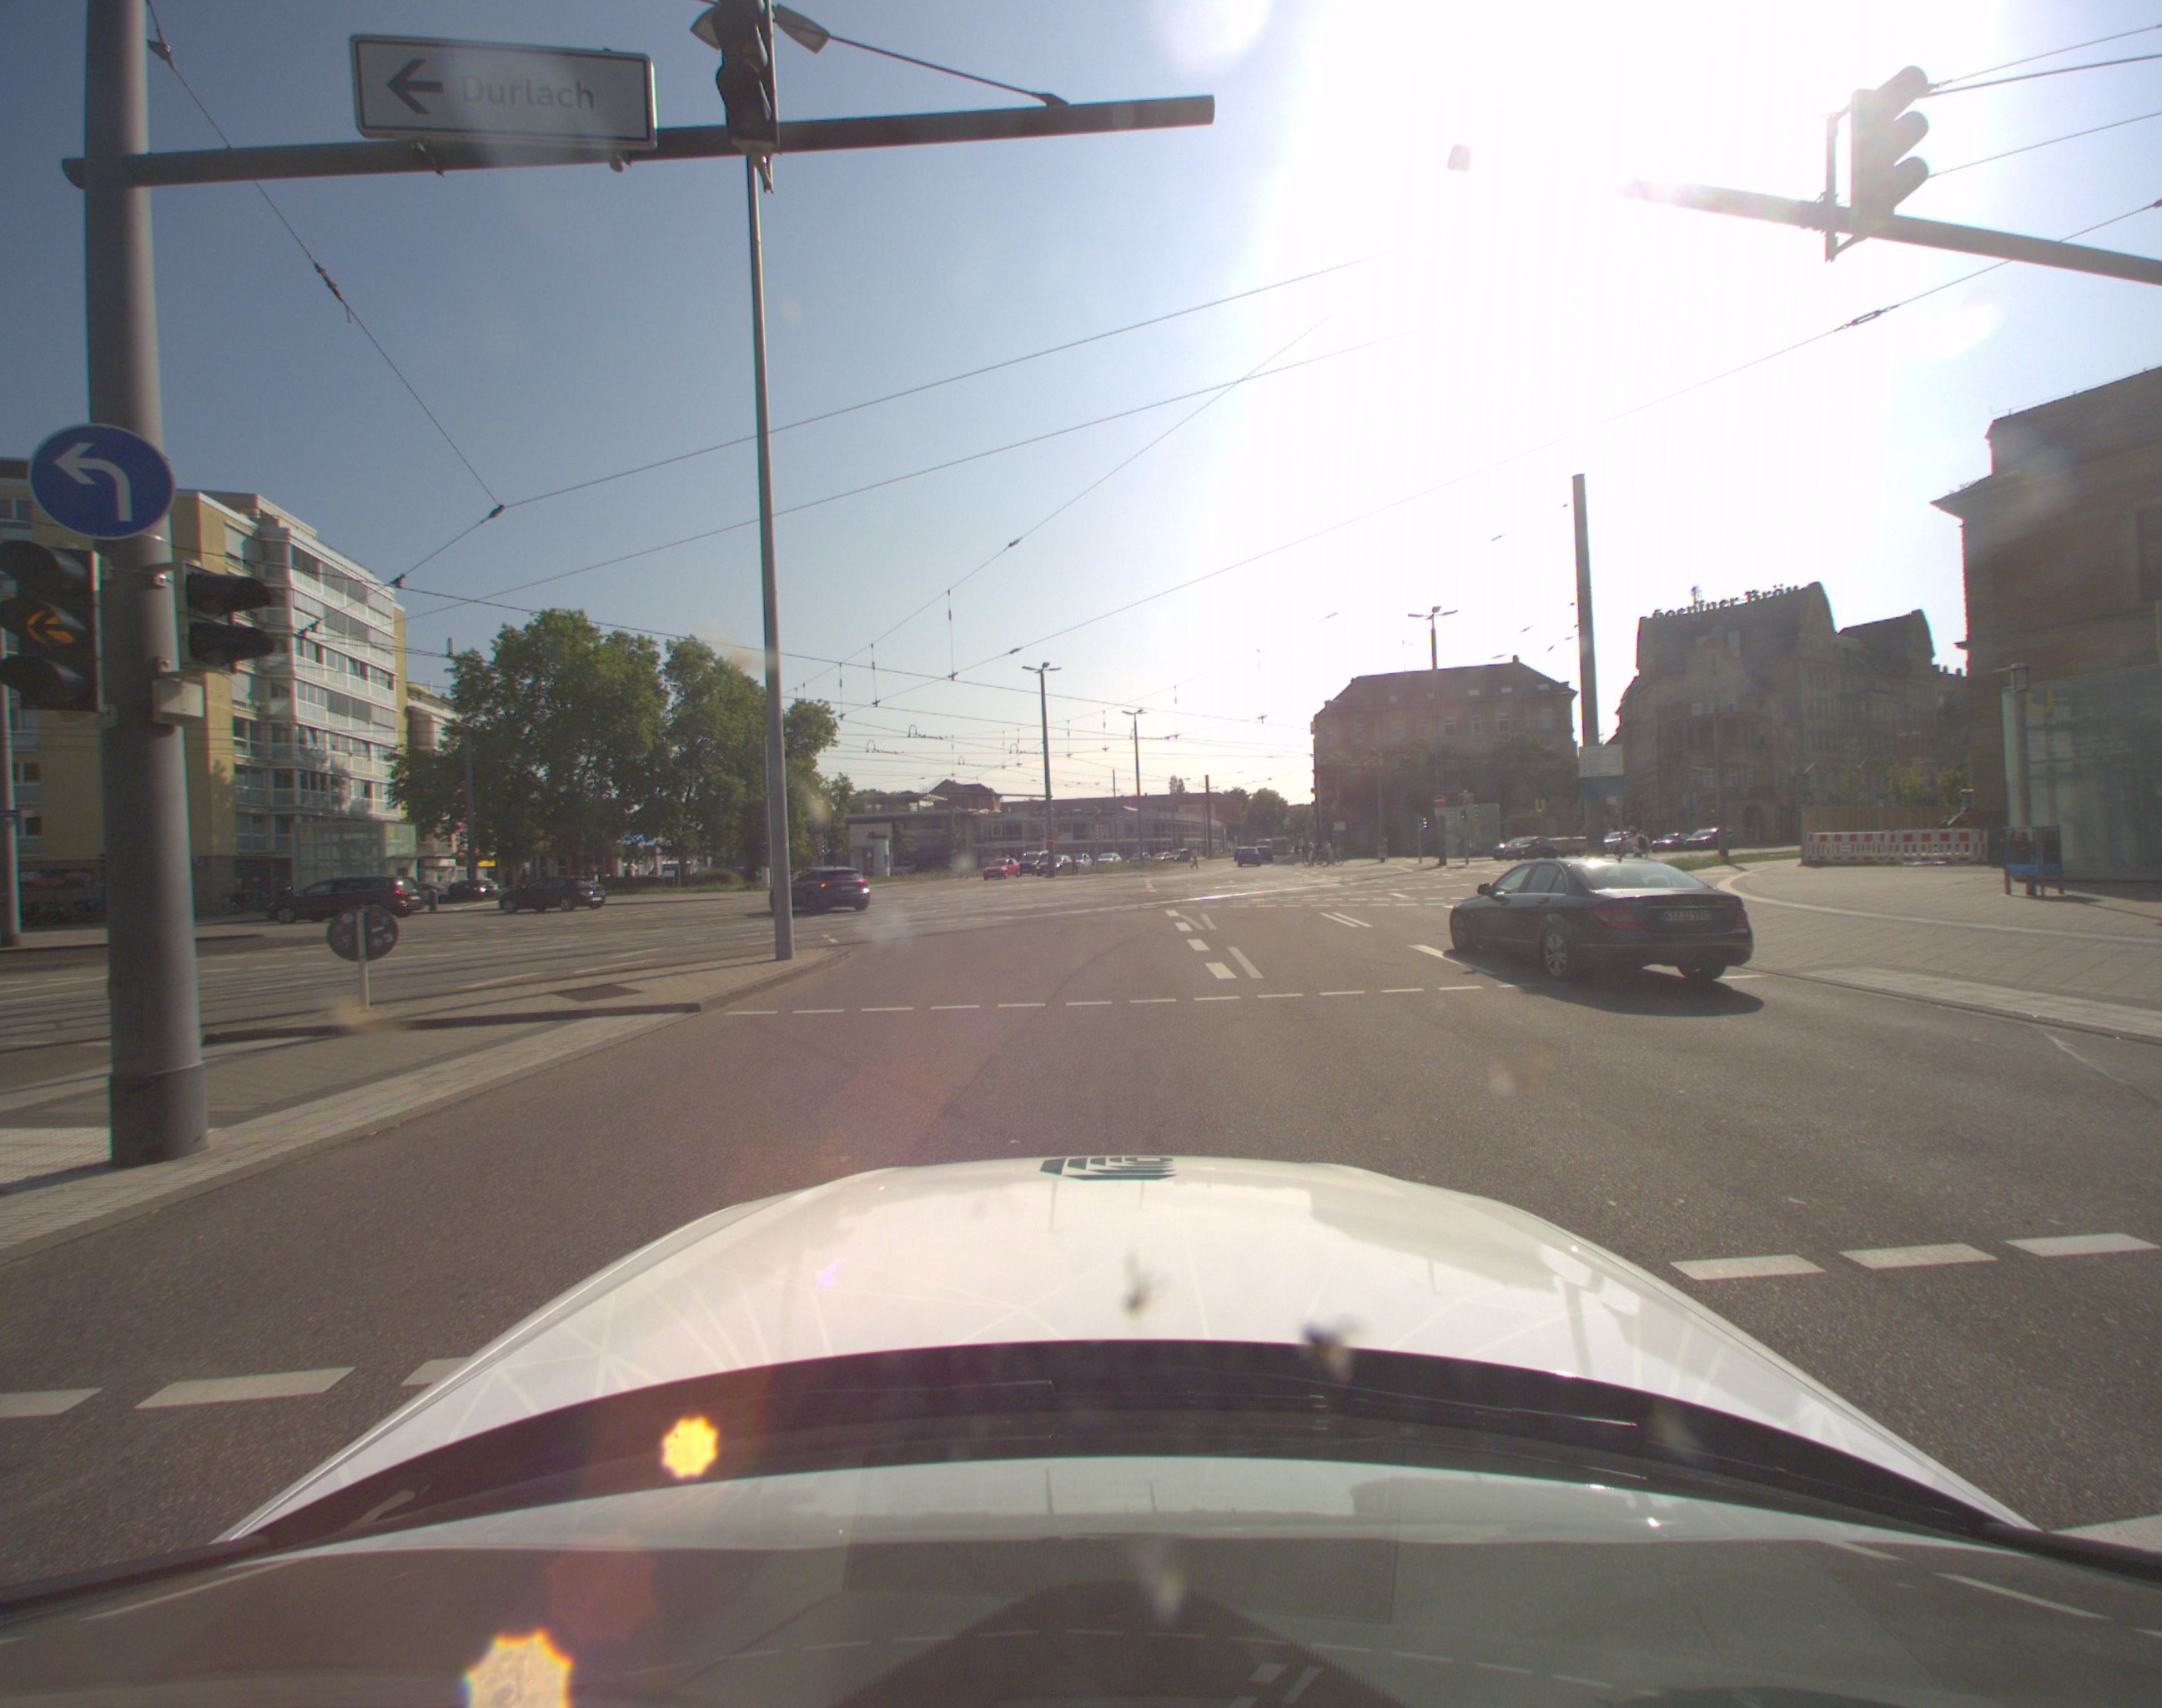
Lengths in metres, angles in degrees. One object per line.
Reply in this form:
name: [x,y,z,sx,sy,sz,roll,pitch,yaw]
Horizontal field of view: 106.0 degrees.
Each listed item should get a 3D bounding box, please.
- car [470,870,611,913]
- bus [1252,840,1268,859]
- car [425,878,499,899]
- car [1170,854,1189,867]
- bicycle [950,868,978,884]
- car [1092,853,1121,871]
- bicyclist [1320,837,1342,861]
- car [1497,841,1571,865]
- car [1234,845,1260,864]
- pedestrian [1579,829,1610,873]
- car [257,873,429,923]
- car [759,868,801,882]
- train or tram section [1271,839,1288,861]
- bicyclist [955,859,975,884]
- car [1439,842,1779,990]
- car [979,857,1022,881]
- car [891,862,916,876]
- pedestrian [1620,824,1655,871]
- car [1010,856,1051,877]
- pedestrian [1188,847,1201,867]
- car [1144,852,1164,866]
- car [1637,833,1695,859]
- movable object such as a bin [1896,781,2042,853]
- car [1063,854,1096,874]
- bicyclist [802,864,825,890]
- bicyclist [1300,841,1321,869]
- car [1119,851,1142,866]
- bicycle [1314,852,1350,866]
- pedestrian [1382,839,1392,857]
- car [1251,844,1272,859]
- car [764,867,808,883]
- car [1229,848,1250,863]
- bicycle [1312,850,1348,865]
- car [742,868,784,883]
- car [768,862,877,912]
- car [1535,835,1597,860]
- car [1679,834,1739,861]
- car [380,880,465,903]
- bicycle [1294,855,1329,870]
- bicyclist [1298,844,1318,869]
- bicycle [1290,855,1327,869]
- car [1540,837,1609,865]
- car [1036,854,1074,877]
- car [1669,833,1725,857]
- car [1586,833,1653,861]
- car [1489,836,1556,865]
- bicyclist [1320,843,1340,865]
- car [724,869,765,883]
car: [-21.806,1.482,32.998,4.358,1.491,1.682,-2,0,-10]
bus: [37.062,-0.904,168.967,2.901,3.619,16.800,-2,0,12]
car: [-47.268,2.622,62.280,4.169,1.354,1.568,-2,0,-19]
car: [12.549,0.783,103.886,1.602,1.475,4.018,-4,-1,16]
bicycle: [-8.387,1.593,58.719,0.950,1.057,2.619,-2,0,16]
car: [2.410,0.739,75.236,1.602,1.475,4.018,-4,-1,16]
bicyclist: [17.791,-0.354,58.016,0.941,1.708,1.081,-2,0,-37]
car: [28.508,-0.059,51.231,4.398,1.397,2.005,-2,0,-28]
car: [13.522,0.026,66.160,1.812,1.428,4.429,-3,0,14]
pedestrian: [20.030,-0.113,31.746,0.910,1.690,0.843,-2,-1,37]
car: [-28.924,1.683,32.102,4.542,1.678,1.990,-2,0,-15]
car: [-36.251,2.518,98.202,1.683,1.522,4.544,-2,0,32]
train or tram section: [35.607,-0.755,146.355,2.636,3.699,10.627,-3,0,13]
bicyclist: [-8.387,1.245,58.755,0.950,1.748,1.171,-2,0,16]
car: [6.316,0.626,10.457,1.675,1.442,4.376,-2,0,3]
car: [-5.748,1.060,58.552,1.602,1.475,4.017,-4,-1,15]
car: [-21.265,1.769,97.587,1.691,1.522,4.105,-2,0,5]
pedestrian: [20.619,-0.230,30.179,0.911,1.690,0.931,-2,-1,40]
car: [-4.047,1.015,65.689,1.946,1.475,4.017,-4,-1,15]
pedestrian: [8.761,0.221,62.966,0.778,1.503,0.707,-2,0,-11]
car: [8.838,0.592,98.345,1.602,1.475,4.018,-4,-1,16]
car: [45.037,-0.592,62.676,4.261,1.859,1.893,-2,0,-28]
movable object such as a bin: [34.399,-1.408,31.458,8.009,2.442,2.428,-2,0,-33]
car: [-0.067,0.785,67.136,1.602,1.475,4.017,-4,-1,15]
bicyclist: [-16.285,1.390,49.631,1.164,1.527,0.956,-3,0,-14]
bicyclist: [16.801,0.090,59.623,0.941,2.024,1.081,-2,0,-37]
car: [5.549,0.492,91.315,1.602,1.475,4.018,-4,-1,16]
bicycle: [19.591,0.381,63.495,2.630,0.964,1.084,-2,0,-24]
pedestrian: [25.450,-0.488,67.732,0.672,1.471,0.540,-2,-1,-44]
car: [18.478,-0.289,83.187,1.812,1.428,4.430,-3,0,15]
car: [-31.882,2.280,88.050,4.066,1.522,1.708,-2,0,5]
car: [17.797,0.152,91.478,1.811,1.535,4.432,-3,0,17]
bicycle: [17.690,0.230,57.919,2.639,0.964,1.081,-2,0,-37]
car: [-38.502,2.587,98.687,1.683,1.522,4.544,-2,0,32]
car: [-8.454,1.033,26.382,1.847,1.435,4.497,-2,0,-39]
car: [38.603,-0.514,64.816,4.273,1.859,1.919,-2,0,-19]
car: [45.914,-0.489,59.557,4.078,1.859,1.893,-2,0,-28]
car: [-44.665,2.531,55.325,4.169,1.354,1.568,-2,0,-19]
bicycle: [16.860,0.632,59.645,2.639,0.964,1.081,-2,0,-37]
bicyclist: [17.246,0.199,61.913,0.938,1.800,1.084,-2,0,-23]
bicycle: [17.275,0.620,61.921,2.630,0.964,1.084,-2,0,-24]
car: [34.824,-0.223,57.444,4.718,1.859,1.894,-2,0,-26]
car: [-1.923,0.833,60.757,1.602,1.475,4.017,-4,-1,15]
car: [49.721,-0.729,65.730,4.261,1.859,1.893,-2,0,-28]
car: [39.427,-0.524,59.630,4.676,1.859,2.027,-2,0,-28]
car: [30.074,-0.232,55.487,4.261,1.859,1.893,-2,0,-28]
bicyclist: [19.401,0.020,63.411,0.938,1.680,1.084,-2,0,-23]
car: [-41.768,2.721,101.282,1.683,1.522,4.544,-2,0,32]
